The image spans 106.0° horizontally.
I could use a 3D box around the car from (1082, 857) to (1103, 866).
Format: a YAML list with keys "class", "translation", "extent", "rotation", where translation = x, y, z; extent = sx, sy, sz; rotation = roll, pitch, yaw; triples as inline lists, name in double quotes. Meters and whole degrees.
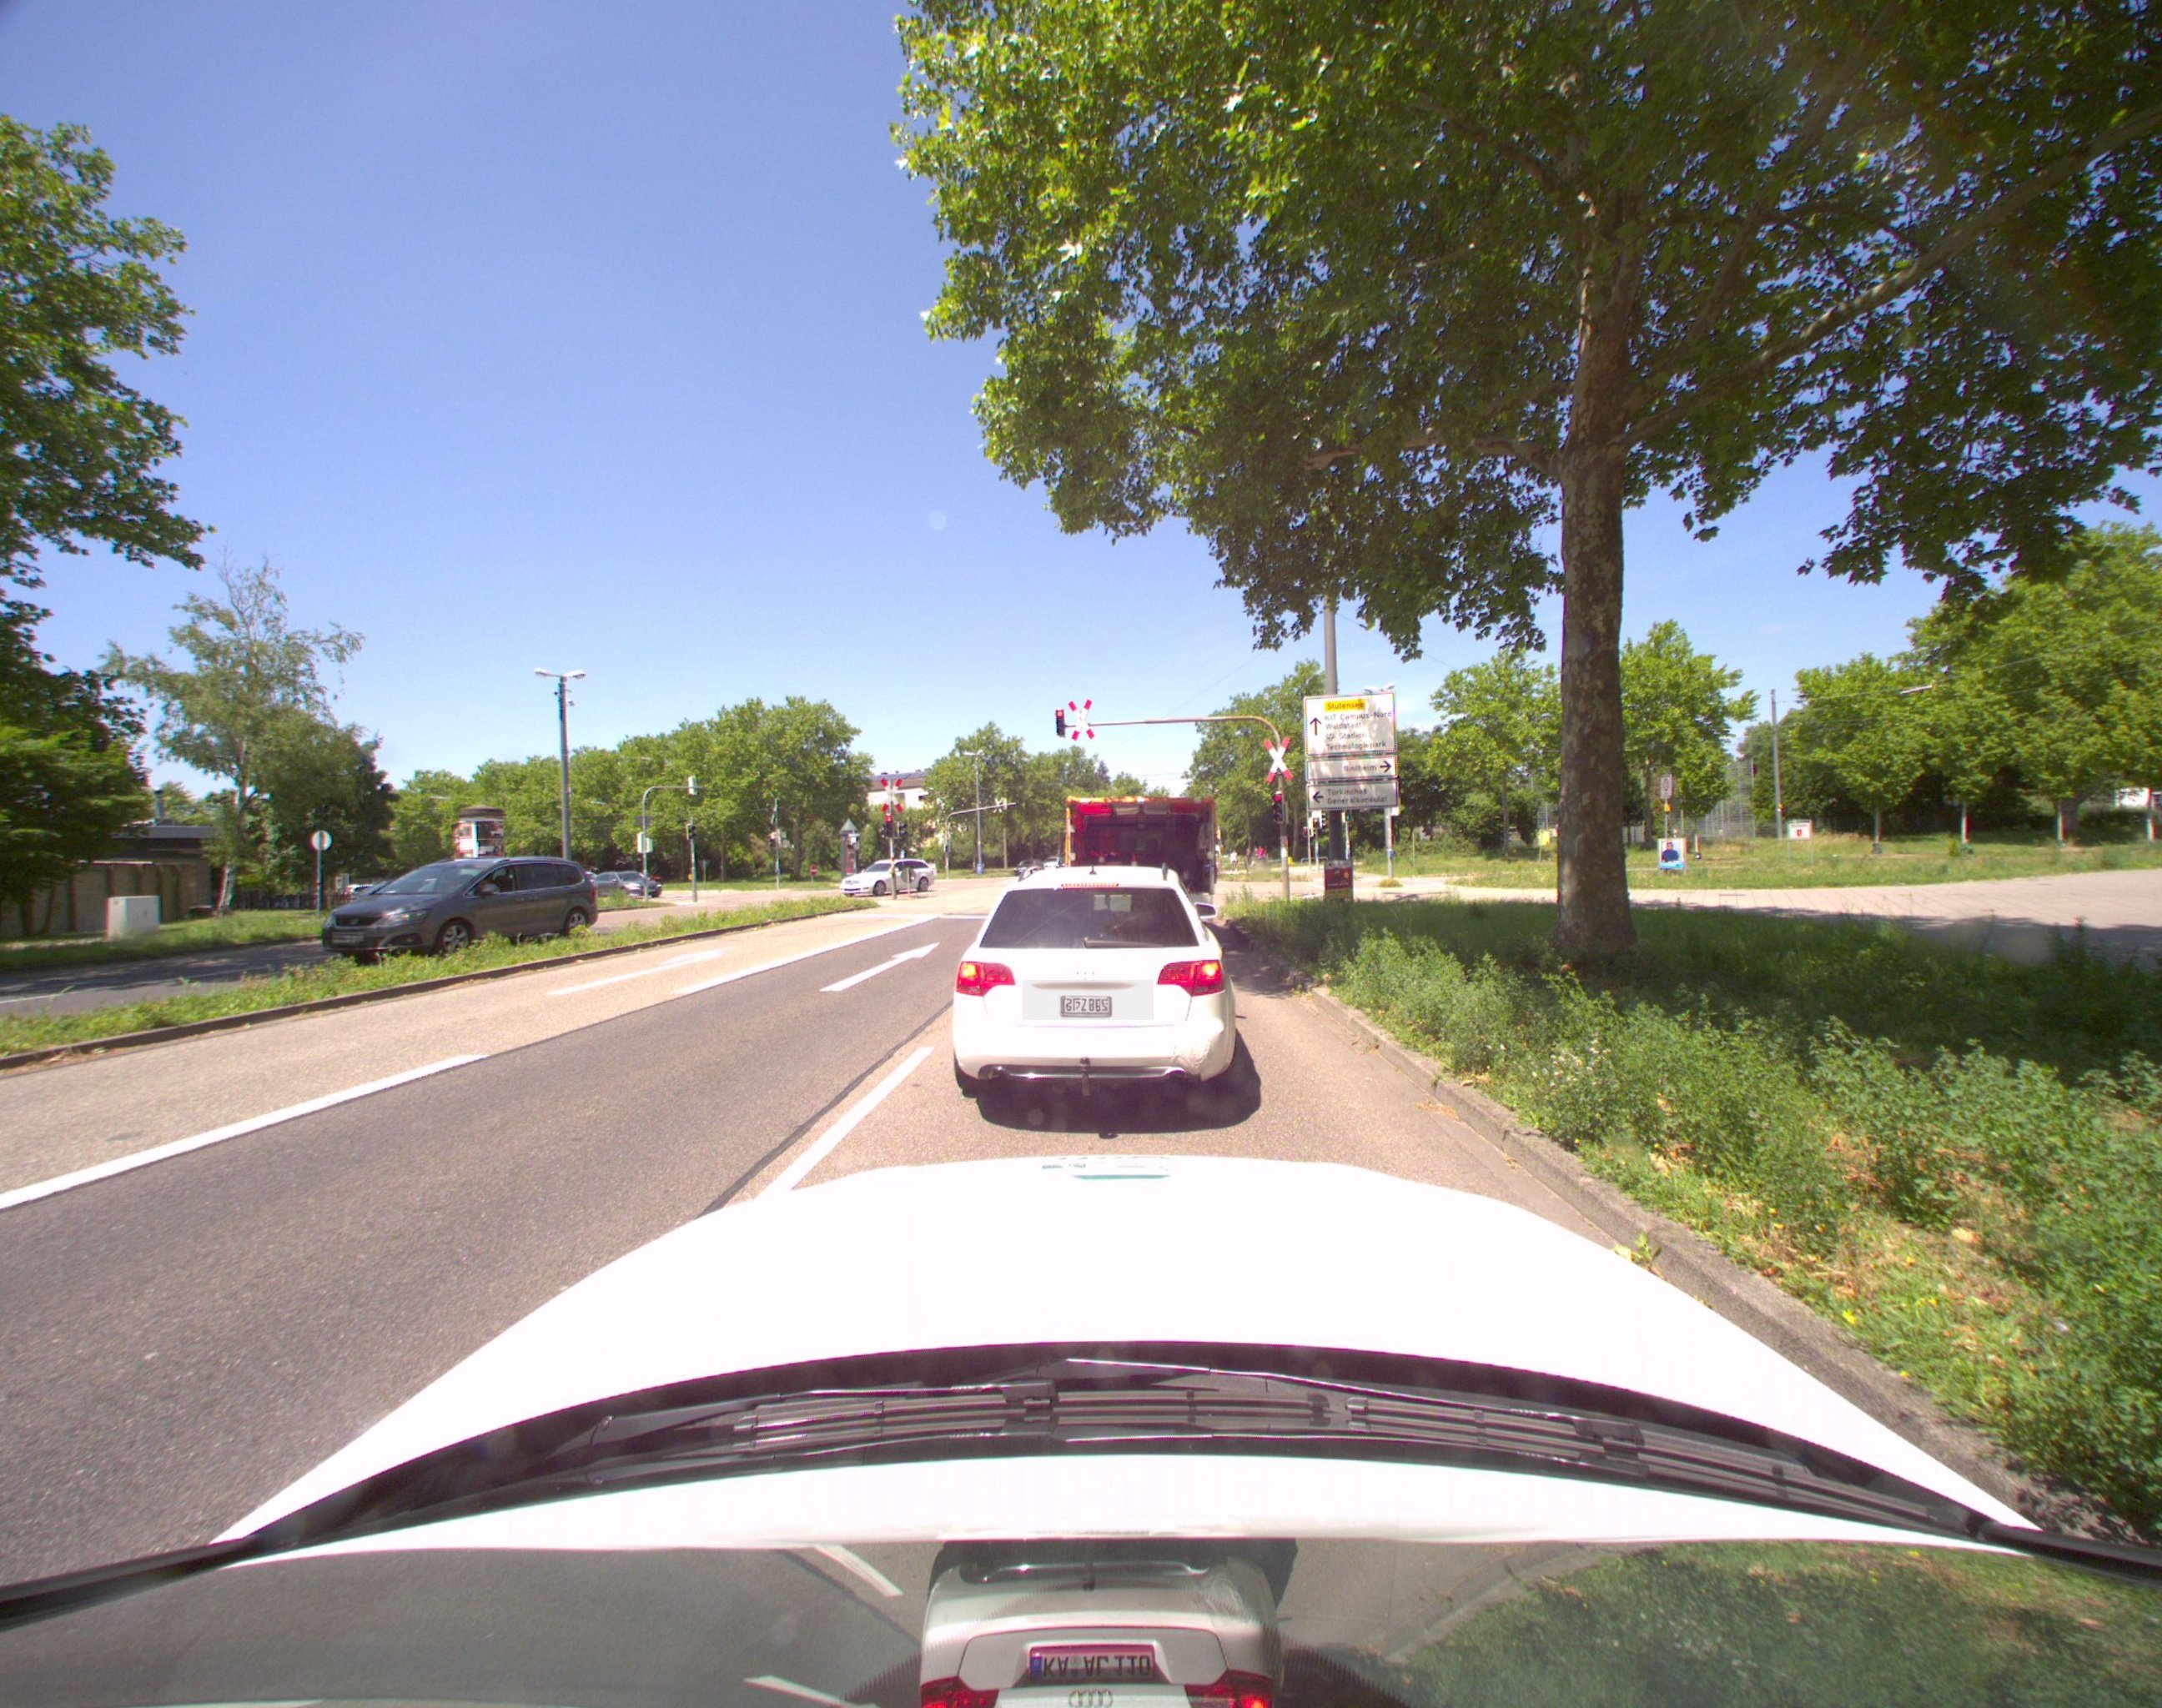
- class: "car"
  translation: [2.005, 1.305, 139.379]
  extent: [1.864, 1.393, 4.025]
  rotation: [-2, 0, 28]

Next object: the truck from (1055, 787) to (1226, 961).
- class: "truck"
  translation: [1.210, 0.312, 15.867]
  extent: [2.499, 2.559, 7.613]
  rotation: [0, 0, 5]

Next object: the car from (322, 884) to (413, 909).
- class: "car"
  translation: [-47.562, 2.805, 54.410]
  extent: [1.863, 1.412, 4.396]
  rotation: [-2, 0, 6]

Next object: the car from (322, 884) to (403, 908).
- class: "car"
  translation: [-51.833, 3.023, 58.848]
  extent: [1.930, 1.423, 4.070]
  rotation: [-2, 0, 8]

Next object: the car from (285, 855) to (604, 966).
- class: "car"
  translation: [-11.256, 0.891, 14.969]
  extent: [1.940, 1.656, 4.627]
  rotation: [-2, 0, 4]

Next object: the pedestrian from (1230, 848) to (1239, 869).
- class: "pedestrian"
  translation: [10.974, 0.343, 58.270]
  extent: [0.548, 1.484, 0.632]
  rotation: [-2, 0, 18]

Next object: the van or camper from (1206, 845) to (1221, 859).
- class: "van or camper"
  translation: [32.701, -0.511, 200.799]
  extent: [2.640, 3.331, 5.524]
  rotation: [-2, 0, 16]

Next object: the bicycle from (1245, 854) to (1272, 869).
- class: "bicycle"
  translation: [12.125, 0.509, 55.686]
  extent: [1.794, 0.895, 0.590]
  rotation: [-2, 0, 9]

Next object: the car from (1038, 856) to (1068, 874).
- class: "car"
  translation: [-2.790, 1.041, 81.005]
  extent: [1.774, 1.615, 4.421]
  rotation: [-2, 0, 14]

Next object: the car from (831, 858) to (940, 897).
- class: "car"
  translation: [-8.160, 0.947, 34.417]
  extent: [1.836, 1.418, 4.575]
  rotation: [-2, 0, 28]

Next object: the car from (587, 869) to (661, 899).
- class: "car"
  translation: [-24.096, 1.591, 42.918]
  extent: [3.941, 1.457, 1.776]
  rotation: [-2, 0, 34]

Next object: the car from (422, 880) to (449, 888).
- class: "car"
  translation: [-88.185, 4.126, 111.259]
  extent: [0.996, 0.994, 2.738]
  rotation: [-2, 0, 31]

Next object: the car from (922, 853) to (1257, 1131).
- class: "car"
  translation: [0.222, 0.727, 6.113]
  extent: [1.754, 1.445, 3.622]
  rotation: [-1, 0, 6]

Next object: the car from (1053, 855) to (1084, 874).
- class: "car"
  translation: [-1.131, 0.919, 74.322]
  extent: [1.897, 1.539, 4.312]
  rotation: [-2, 0, 11]

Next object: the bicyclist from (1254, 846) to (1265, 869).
- class: "bicyclist"
  translation: [12.187, 0.221, 55.672]
  extent: [0.667, 1.556, 0.581]
  rotation: [-2, 0, 10]

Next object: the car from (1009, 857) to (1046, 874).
- class: "car"
  translation: [-4.810, 1.017, 73.676]
  extent: [1.935, 1.440, 4.765]
  rotation: [-1, 1, 15]

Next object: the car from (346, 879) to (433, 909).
- class: "car"
  translation: [-44.786, 2.552, 52.868]
  extent: [1.769, 1.651, 4.201]
  rotation: [-2, 0, 6]
